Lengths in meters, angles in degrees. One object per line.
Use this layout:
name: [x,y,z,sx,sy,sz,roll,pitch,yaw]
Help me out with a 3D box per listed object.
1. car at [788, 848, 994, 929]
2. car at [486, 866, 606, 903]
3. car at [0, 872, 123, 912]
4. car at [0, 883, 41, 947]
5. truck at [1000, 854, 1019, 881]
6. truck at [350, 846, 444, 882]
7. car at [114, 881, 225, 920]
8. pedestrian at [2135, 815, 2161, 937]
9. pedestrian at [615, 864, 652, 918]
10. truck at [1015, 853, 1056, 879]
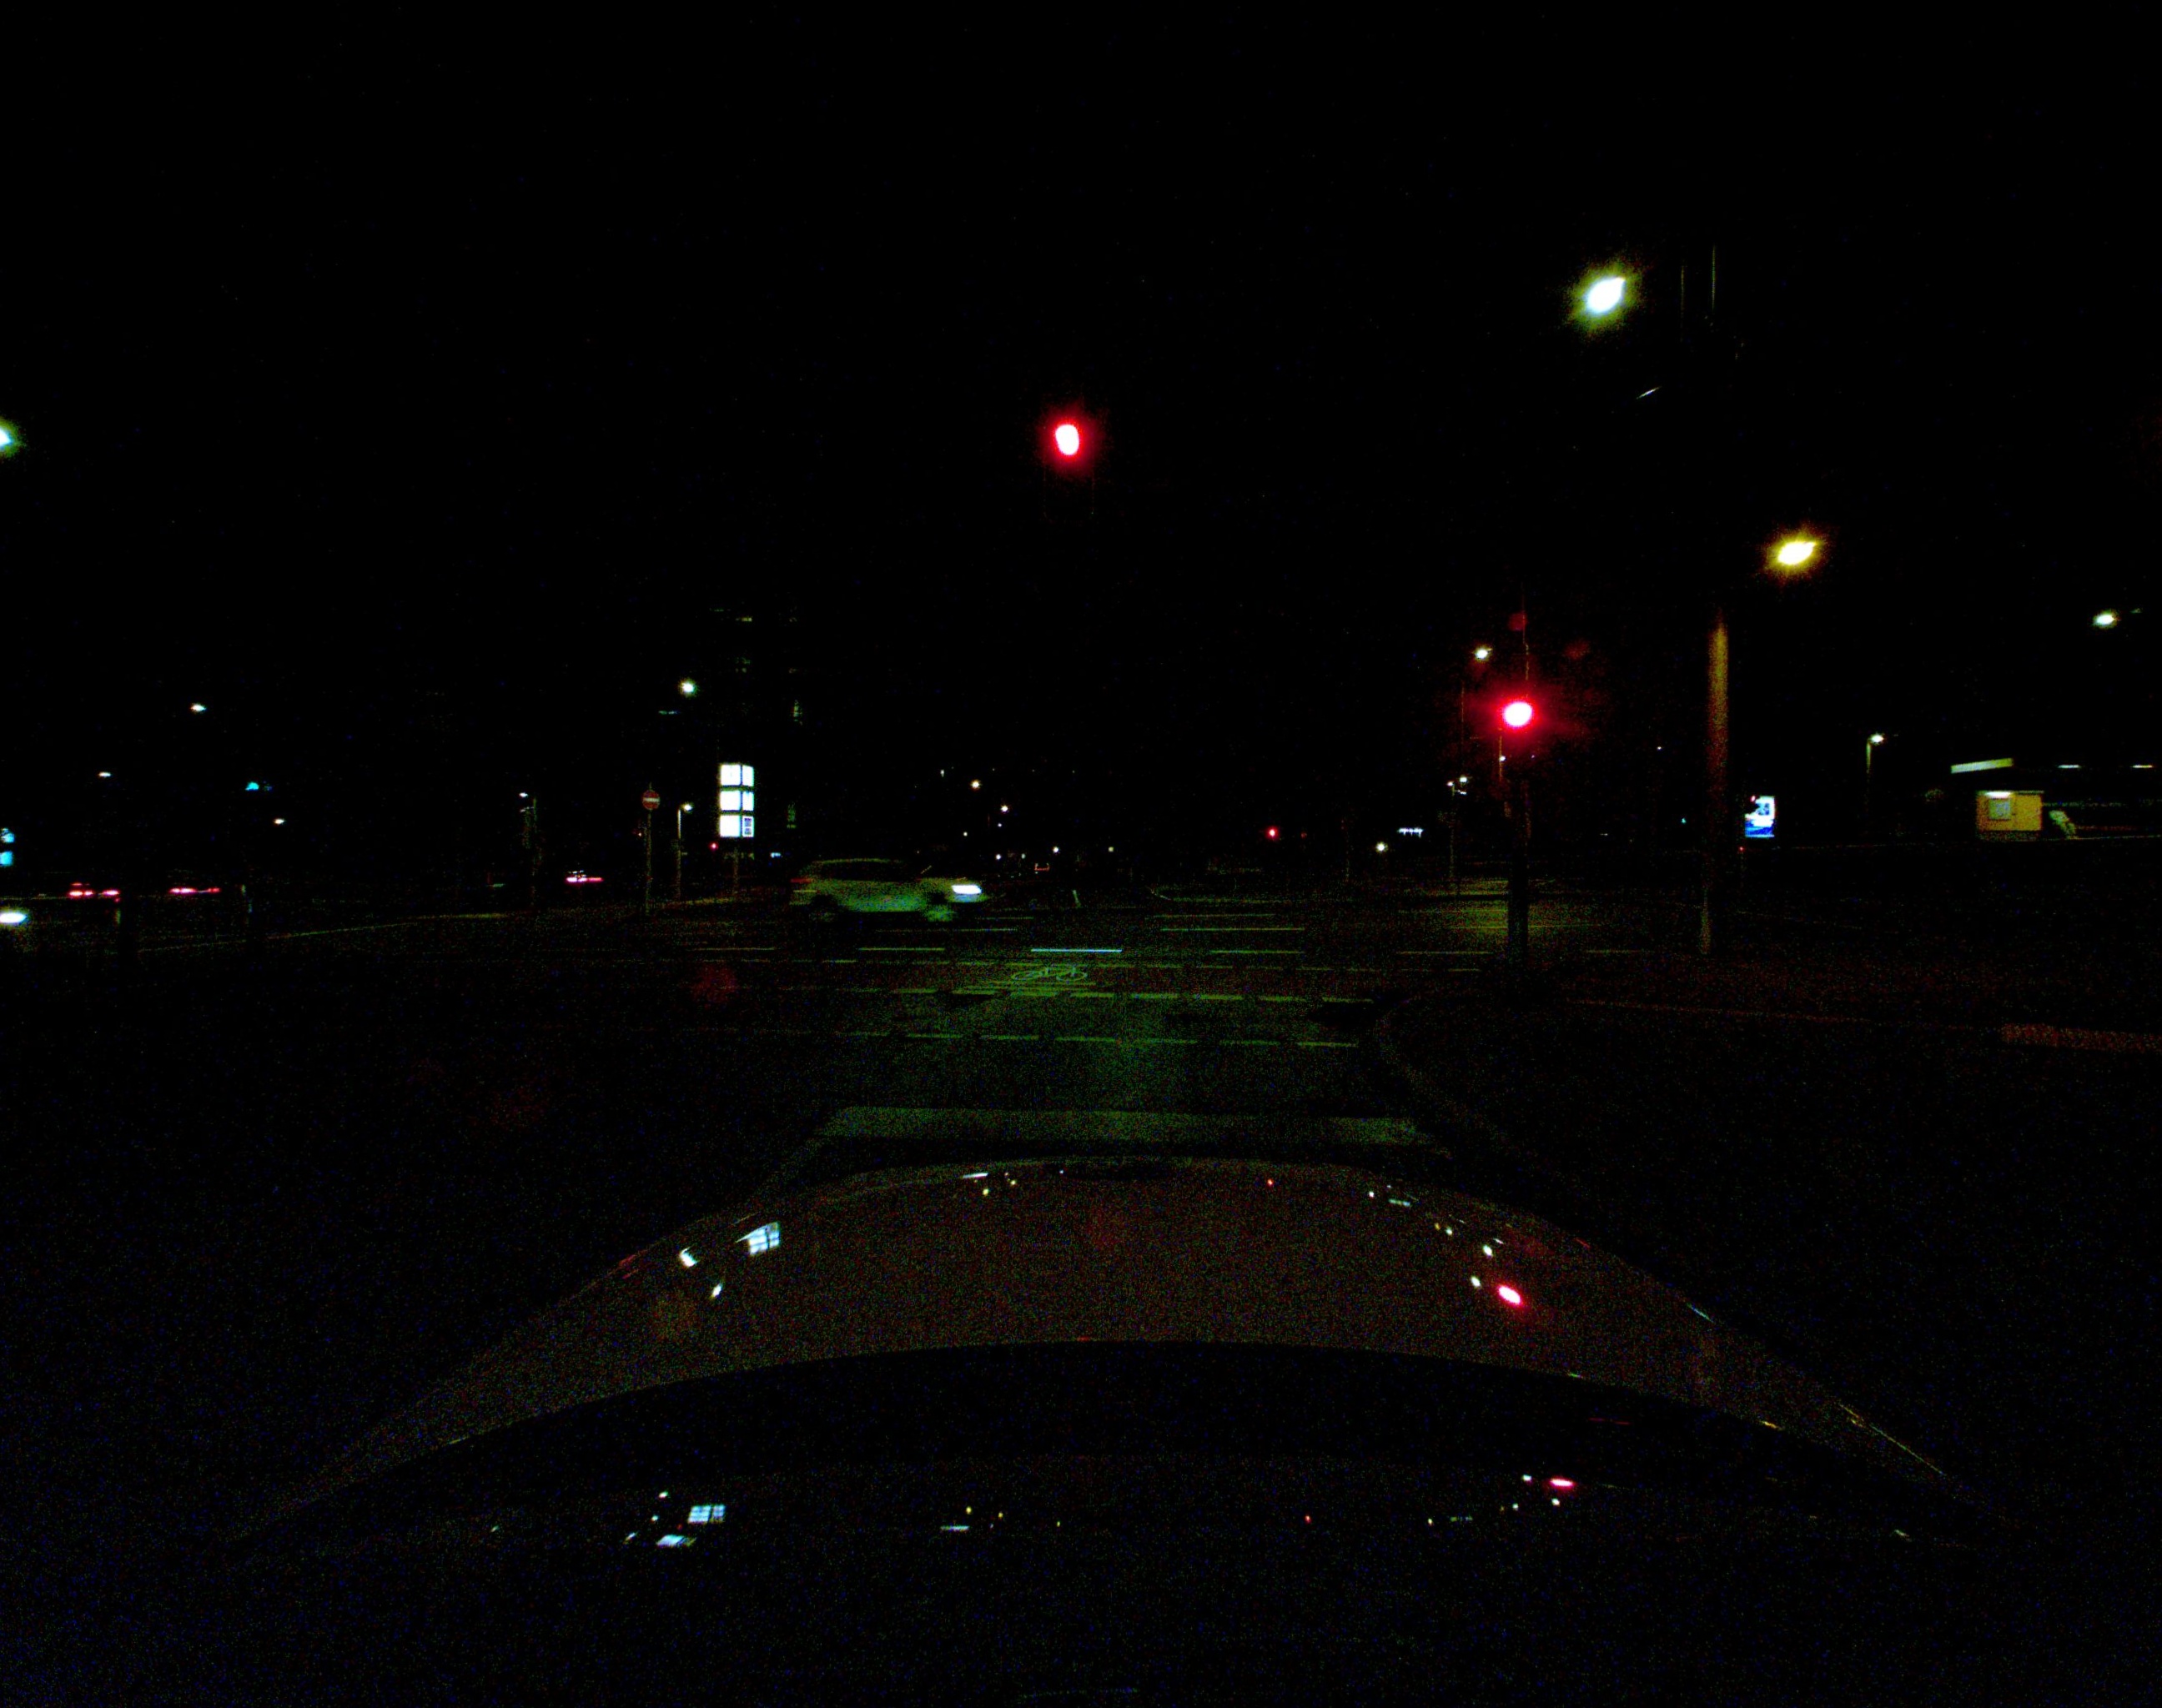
car: [-4.365,0.780,19.130,4.263,1.683,1.878,-2,1,5]
car: [-26.080,1.456,39.778,4.595,1.728,2.003,0,-1,5]
car: [-52.898,1.936,42.273,4.163,1.975,2.002,0,-1,4]
car: [-30.961,1.680,21.726,4.323,1.651,1.812,-1,0,4]
truck: [-10.582,1.958,119.543,2.580,3.707,5.723,0,-1,-7]
truck: [-59.889,0.874,71.408,5.873,3.088,2.915,0,-1,3]
car: [-50.463,2.537,45.154,3.971,2.014,2.001,-1,-1,2]
pedestrian: [15.789,0.290,11.426,0.752,1.745,0.834,-3,-3,1]
pedestrian: [-13.939,1.142,25.370,0.667,1.634,0.862,0,-1,-3]
truck: [-8.562,2.225,151.642,4.835,4.547,12.591,0,-1,-17]
